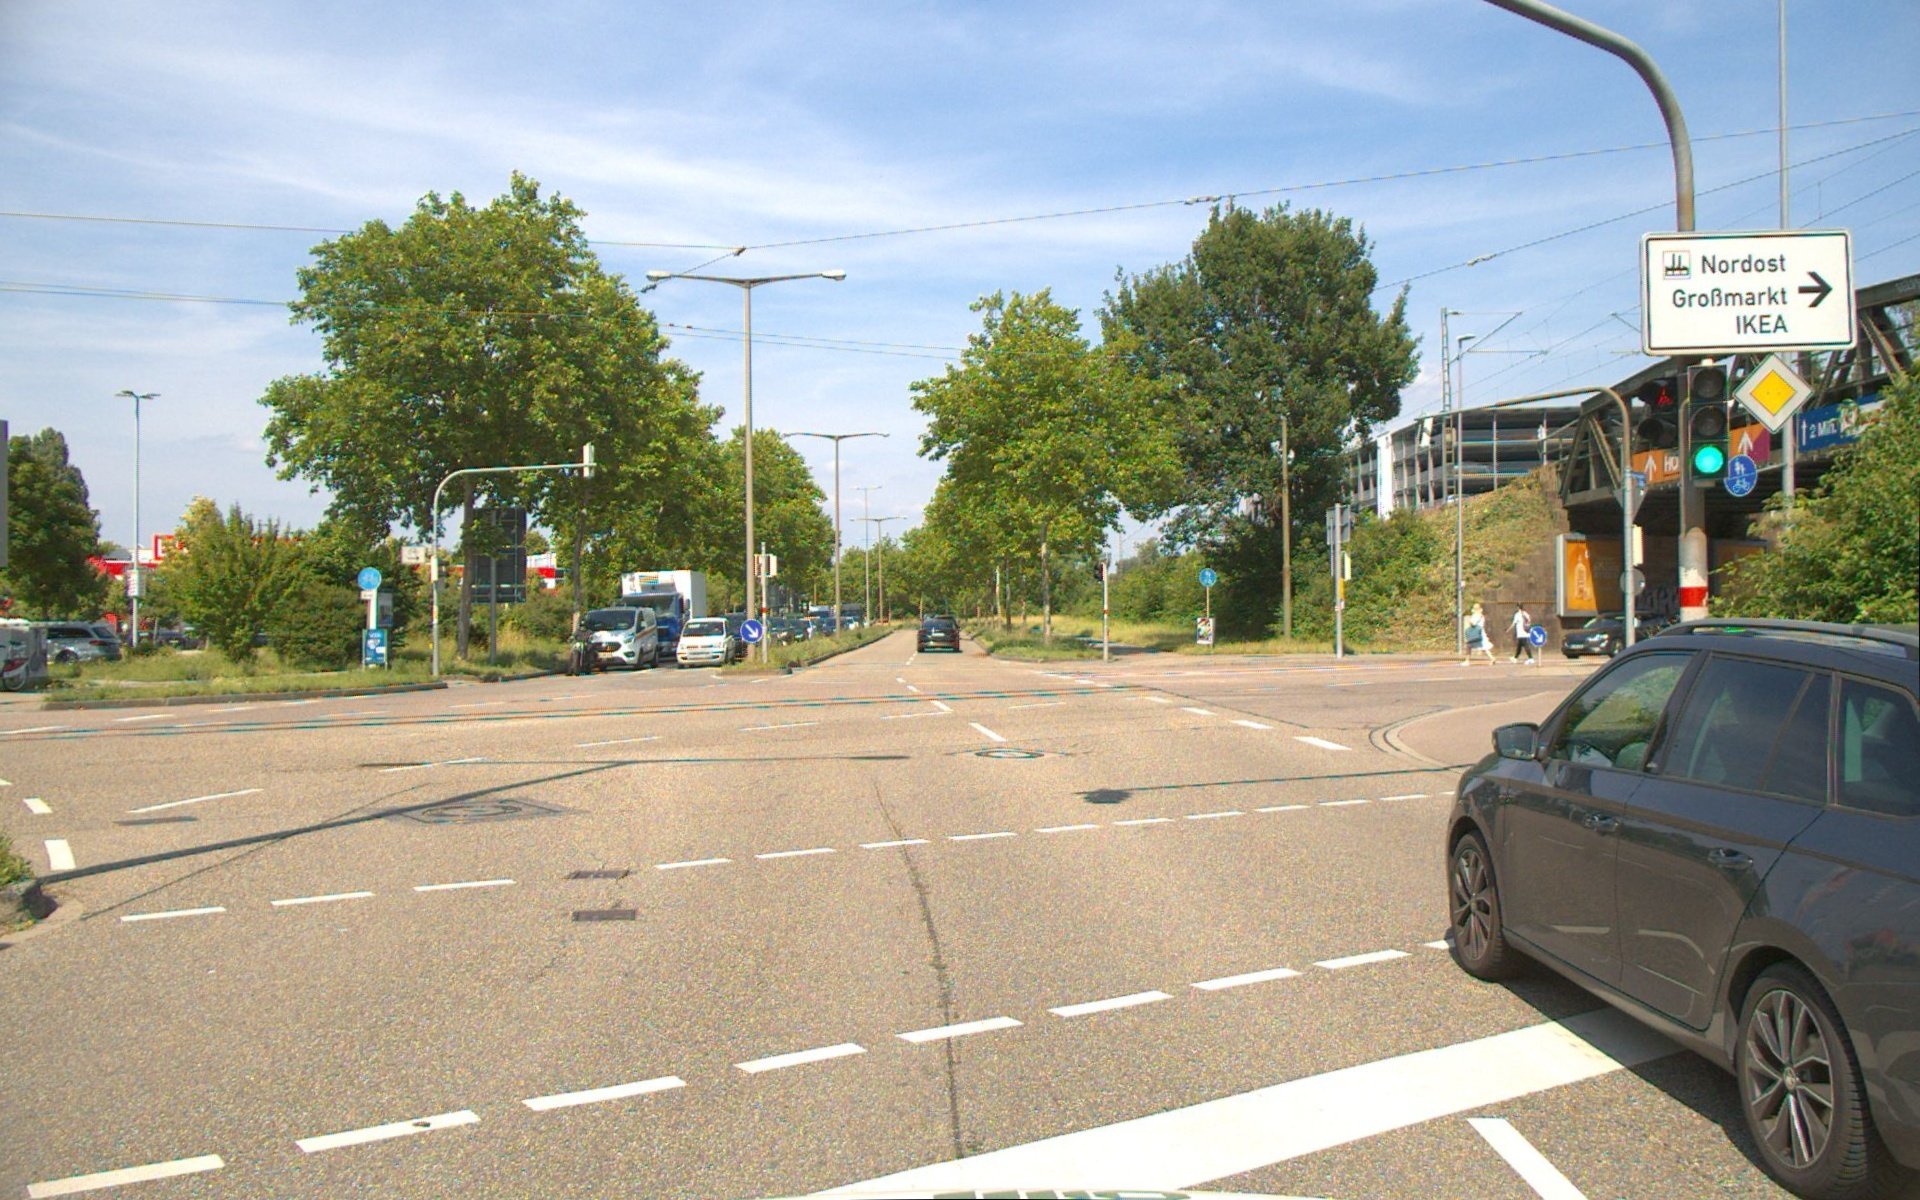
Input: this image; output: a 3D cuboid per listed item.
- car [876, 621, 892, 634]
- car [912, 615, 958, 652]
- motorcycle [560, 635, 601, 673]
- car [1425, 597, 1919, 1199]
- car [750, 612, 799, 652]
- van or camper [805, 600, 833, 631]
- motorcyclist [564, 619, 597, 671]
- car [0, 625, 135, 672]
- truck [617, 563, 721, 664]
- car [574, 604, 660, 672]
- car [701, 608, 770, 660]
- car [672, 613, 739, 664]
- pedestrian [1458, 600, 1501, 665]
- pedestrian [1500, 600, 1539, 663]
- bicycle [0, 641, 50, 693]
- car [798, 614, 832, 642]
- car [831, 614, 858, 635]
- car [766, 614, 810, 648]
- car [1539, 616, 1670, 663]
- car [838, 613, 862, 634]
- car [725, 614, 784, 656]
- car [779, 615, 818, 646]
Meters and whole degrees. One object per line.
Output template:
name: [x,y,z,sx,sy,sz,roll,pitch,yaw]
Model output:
car: [-9.499,3.376,205.425,1.767,1.537,3.810,-1,0,-6]
car: [-1.114,1.418,71.206,1.869,1.489,4.619,-1,0,-2]
motorcycle: [-10.928,1.540,47.705,0.674,1.009,2.217,-1,0,-1]
car: [2.947,0.750,5.359,1.640,1.479,4.034,1,0,-2]
car: [-8.006,1.363,71.510,1.654,1.614,4.239,-2,0,-1]
van or camper: [-12.427,1.324,145.704,1.974,2.633,5.516,-2,0,-1]
motorcyclist: [-10.963,1.292,47.801,0.728,1.496,0.987,-1,0,-1]
car: [-29.667,1.565,53.937,4.476,1.439,2.196,-1,-1,-8]
truck: [-11.001,0.484,63.132,2.747,3.532,6.690,-3,0,-1]
car: [-10.897,1.176,52.806,1.937,2.034,5.028,-1,0,-3]
car: [-7.830,1.204,58.026,1.783,1.675,4.692,-2,-1,-1]
car: [-7.996,1.190,52.169,1.560,1.503,3.728,-2,0,-1]
pedestrian: [13.472,0.838,42.892,0.850,1.640,0.777,-1,-1,-1]
pedestrian: [14.530,0.814,42.983,0.714,1.607,0.777,-1,-1,-1]
bicycle: [-19.913,1.390,34.428,0.581,1.055,1.897,-1,-1,13]
car: [-8.480,1.641,97.152,1.749,1.515,4.209,-2,0,-2]
car: [-8.702,1.815,124.775,1.747,1.484,4.471,-2,0,-1]
car: [-8.162,1.447,78.827,1.655,1.499,4.217,-3,0,-1]
car: [21.041,1.256,53.934,4.454,1.433,1.973,0,-1,-38]
car: [-8.684,1.838,131.307,1.654,1.537,3.814,-2,0,-1]
car: [-8.019,1.348,64.929,1.760,1.493,4.522,-2,0,-1]
car: [-8.223,1.525,84.462,1.654,1.497,3.814,-2,0,-1]
